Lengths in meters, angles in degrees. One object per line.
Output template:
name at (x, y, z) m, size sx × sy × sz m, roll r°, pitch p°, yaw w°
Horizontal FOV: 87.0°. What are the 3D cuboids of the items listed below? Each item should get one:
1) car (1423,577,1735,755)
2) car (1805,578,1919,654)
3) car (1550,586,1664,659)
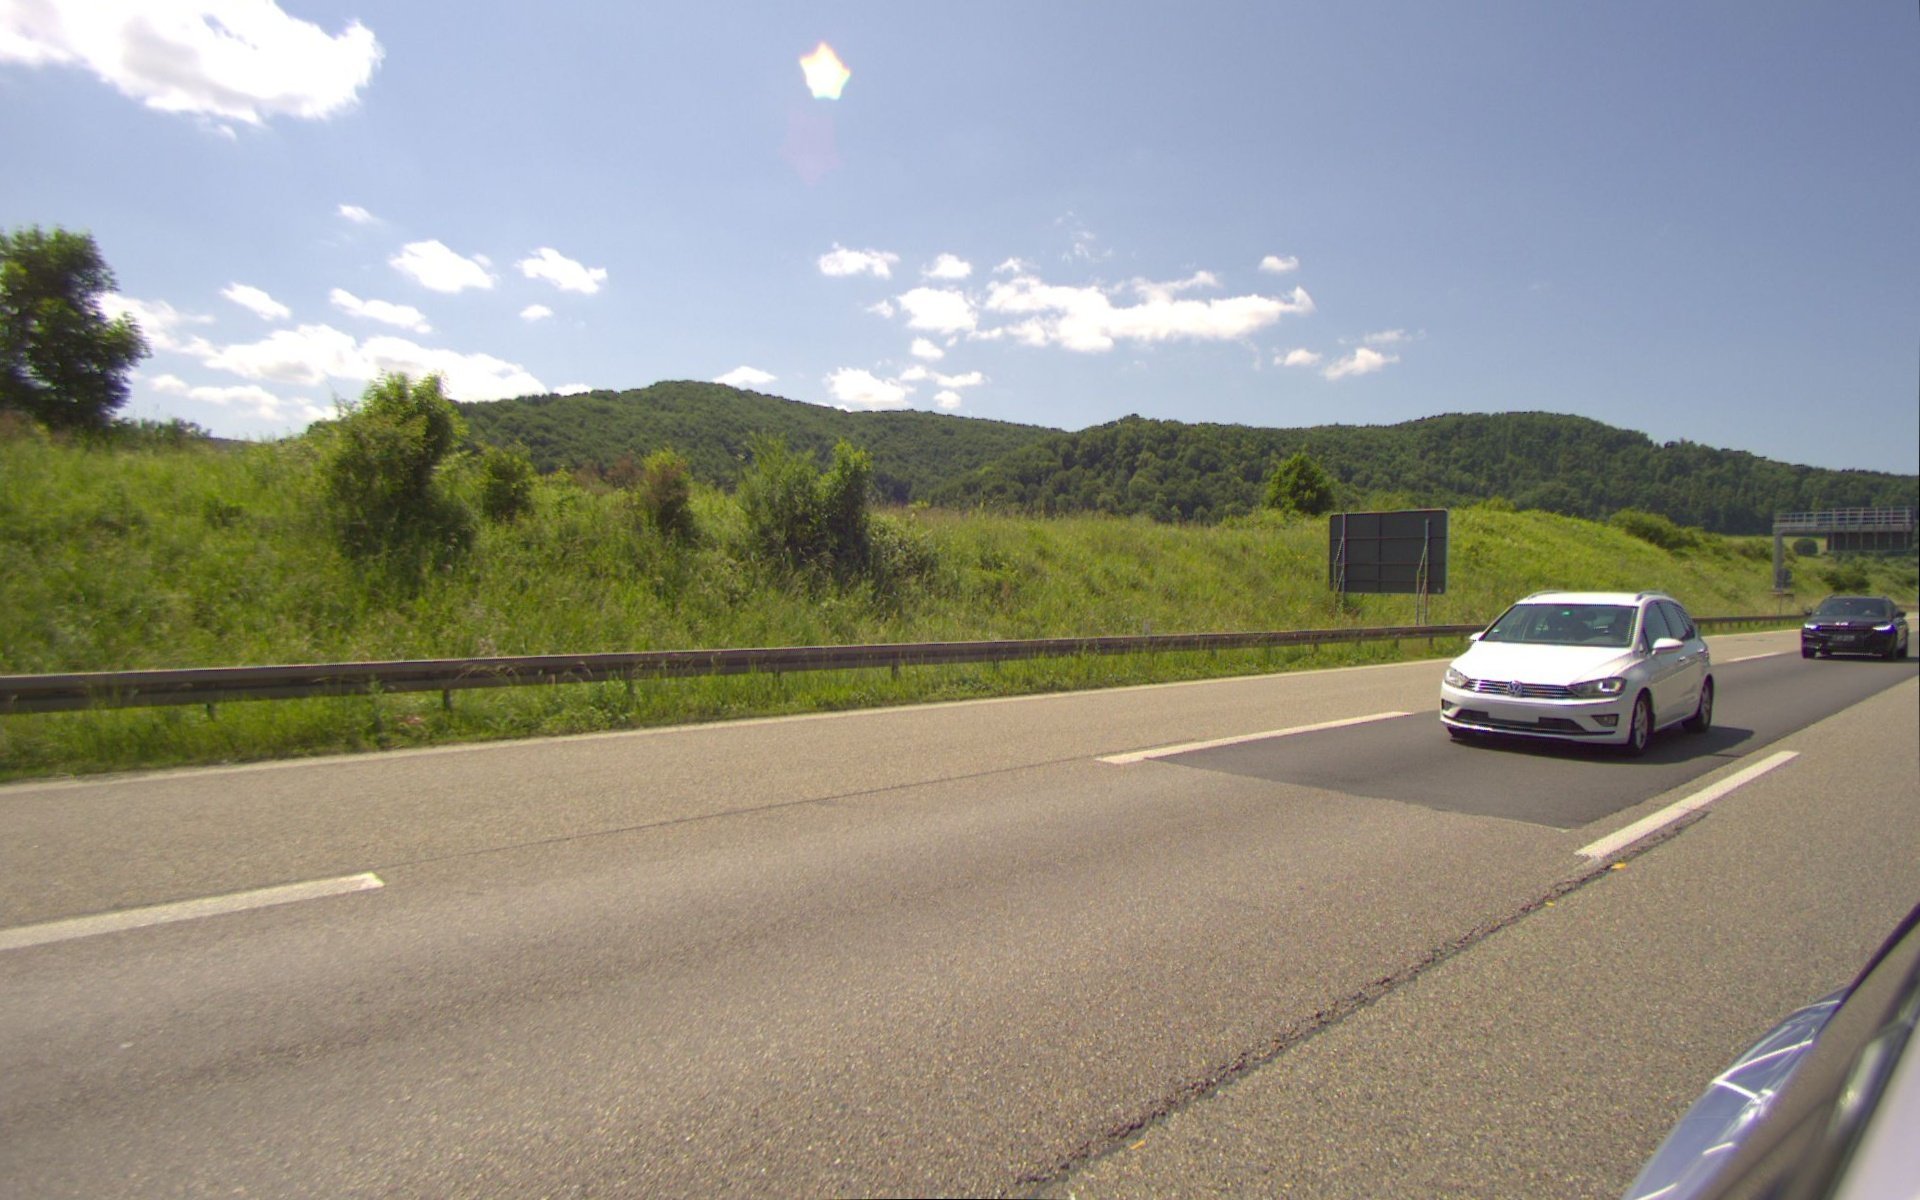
car at (6.756, 0.561, 10.881) m, size 3.984 × 1.560 × 1.775 m, roll 0°, pitch 0°, yaw -41°
car at (23.766, 0.371, 26.469) m, size 4.098 × 1.794 × 1.892 m, roll 0°, pitch 1°, yaw -40°
car at (15.845, 0.480, 24.713) m, size 1.678 × 1.615 × 4.184 m, roll 0°, pitch 0°, yaw 42°
